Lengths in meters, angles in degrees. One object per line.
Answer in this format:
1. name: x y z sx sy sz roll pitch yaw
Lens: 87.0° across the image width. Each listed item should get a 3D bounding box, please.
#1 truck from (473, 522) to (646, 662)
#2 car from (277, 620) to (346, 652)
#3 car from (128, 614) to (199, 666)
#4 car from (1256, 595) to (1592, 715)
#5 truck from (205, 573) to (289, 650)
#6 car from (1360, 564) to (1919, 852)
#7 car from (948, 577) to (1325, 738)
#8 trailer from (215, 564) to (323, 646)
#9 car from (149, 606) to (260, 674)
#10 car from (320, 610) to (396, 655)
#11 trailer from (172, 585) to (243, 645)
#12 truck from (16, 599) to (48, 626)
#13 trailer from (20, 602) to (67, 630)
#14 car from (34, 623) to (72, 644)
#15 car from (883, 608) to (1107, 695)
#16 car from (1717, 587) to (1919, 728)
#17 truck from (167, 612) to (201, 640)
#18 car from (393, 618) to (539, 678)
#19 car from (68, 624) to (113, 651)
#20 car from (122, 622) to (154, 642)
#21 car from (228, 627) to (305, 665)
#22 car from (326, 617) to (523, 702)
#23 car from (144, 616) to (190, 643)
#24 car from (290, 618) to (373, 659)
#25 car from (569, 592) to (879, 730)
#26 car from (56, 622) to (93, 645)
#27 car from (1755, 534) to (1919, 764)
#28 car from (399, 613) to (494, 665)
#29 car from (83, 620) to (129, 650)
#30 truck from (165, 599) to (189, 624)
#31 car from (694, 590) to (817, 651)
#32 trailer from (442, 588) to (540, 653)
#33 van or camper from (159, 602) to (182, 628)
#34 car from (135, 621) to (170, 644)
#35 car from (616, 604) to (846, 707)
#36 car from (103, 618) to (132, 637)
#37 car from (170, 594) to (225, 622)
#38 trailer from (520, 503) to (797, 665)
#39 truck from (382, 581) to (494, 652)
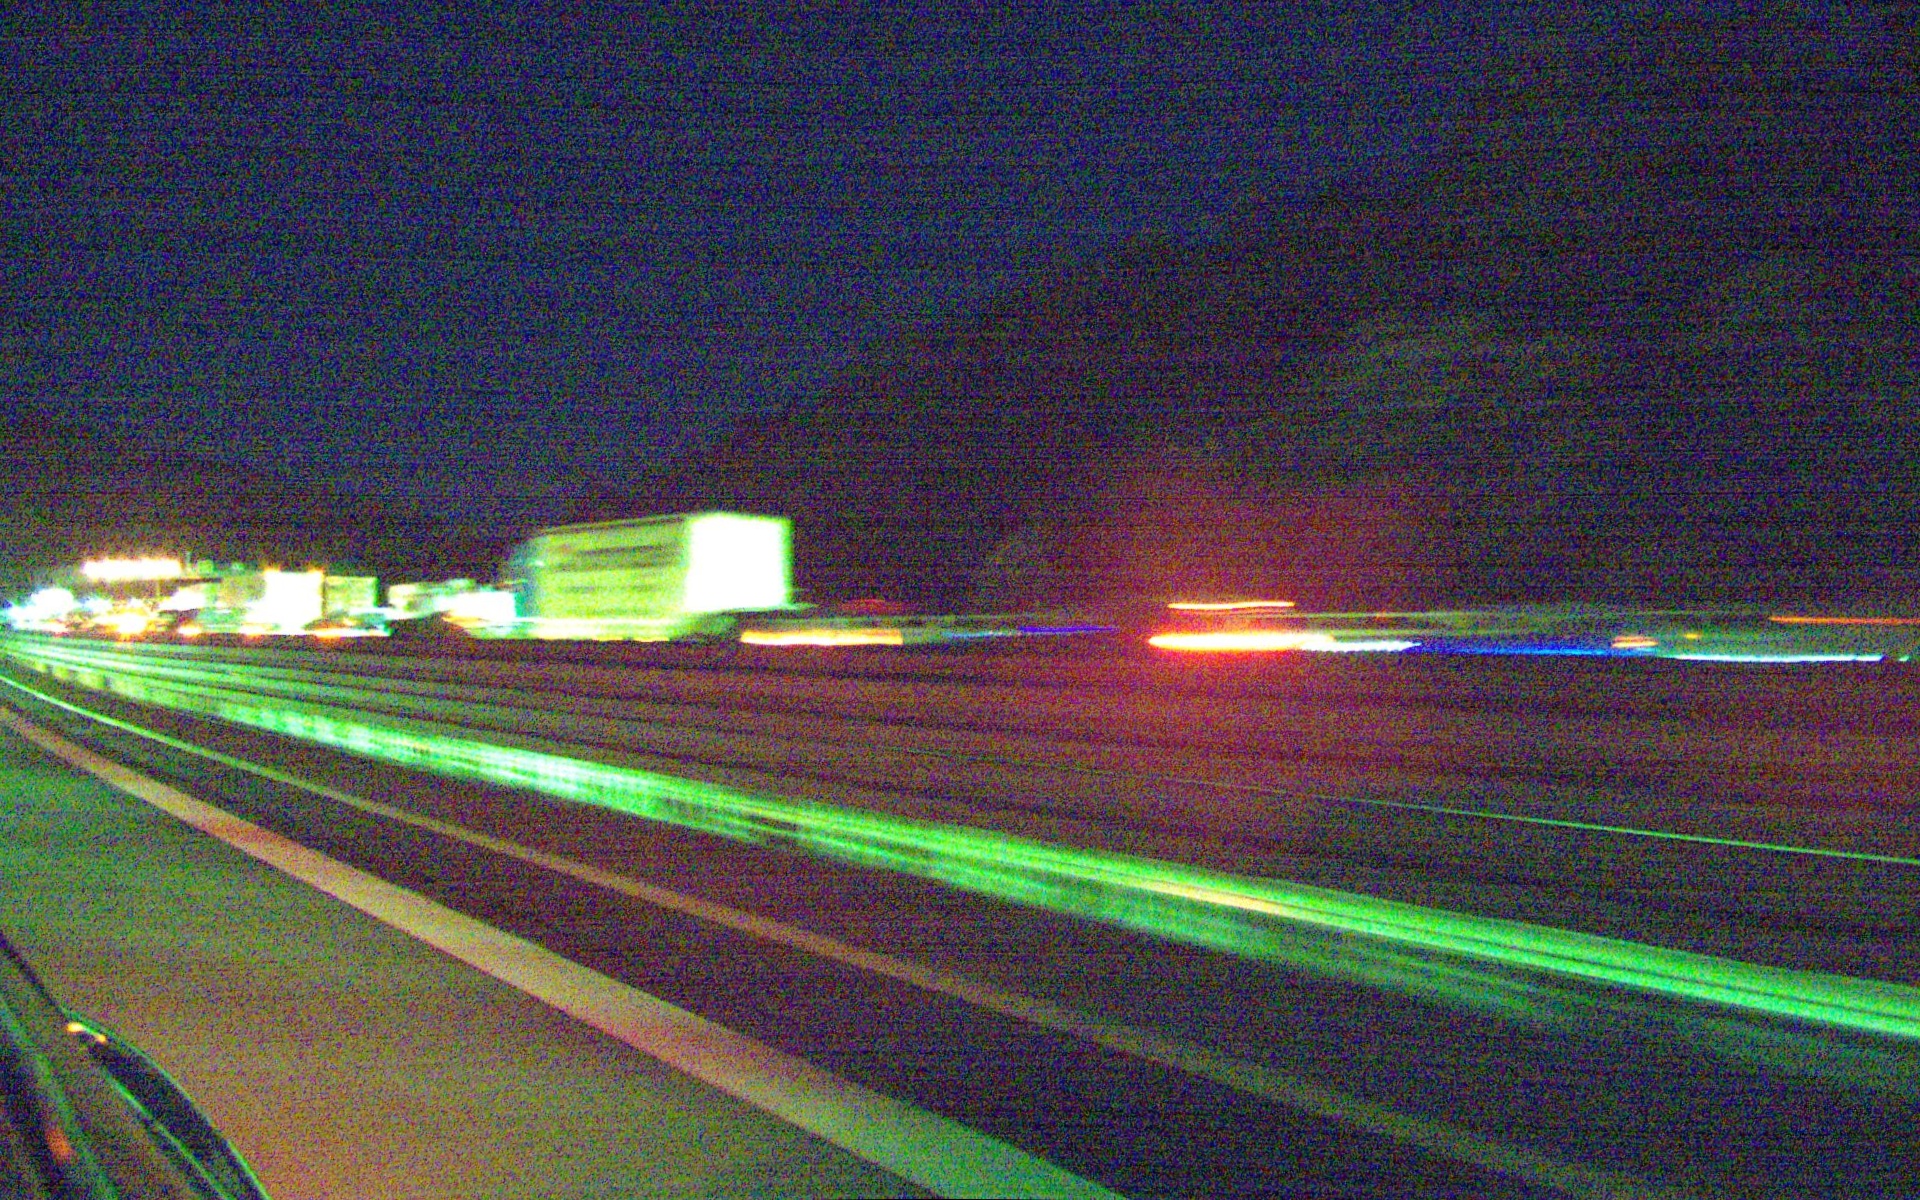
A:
1. truck: -12.347 -0.147 31.111 4.926 3.946 2.802 -2 -2 37
2. car: -32.781 1.805 51.105 4.868 1.503 1.882 -2 -1 44
3. car: -32.135 1.564 40.789 1.854 1.937 4.872 0 0 -43
4. car: 6.914 0.750 15.431 4.508 1.608 1.204 0 -1 39
5. truck: -45.971 0.744 65.223 5.959 4.293 2.591 -1 11 44
6. car: 4.976 0.548 6.038 1.683 1.437 4.515 0 -1 -45
7. car: 2.245 0.689 13.806 4.747 1.824 1.972 -1 -1 42
8. trailer: -42.393 0.395 61.770 2.807 4.498 14.530 2 -2 -45
9. car: -23.680 1.230 31.628 5.604 1.937 1.855 -2 -1 43
10. car: -27.585 1.426 46.291 1.882 1.901 5.025 -1 0 -44
11. trailer: -58.450 1.211 78.406 2.841 4.216 14.537 0 -1 -43
12. truck: -143.258 1.917 156.294 2.854 4.001 4.011 -2 1 -33
13. trailer: -147.465 2.431 162.982 2.794 4.004 15.810 -2 2 -32
14. car: -73.715 2.695 82.320 1.879 1.503 4.878 0 0 -37
15. car: 0.562 0.934 19.703 4.514 1.501 1.524 -1 -1 44
16. car: 10.655 0.606 11.177 3.644 1.415 1.358 -1 4 38
17. truck: -71.095 2.362 92.695 1.970 2.477 5.054 0 -1 -44
18. car: -13.441 1.250 27.423 4.648 1.454 1.927 -1 -1 41
19. car: -54.550 2.320 63.476 1.881 1.503 4.871 0 0 -44
20. car: -64.094 2.471 78.873 1.880 1.503 4.876 0 0 -40
21. car: -30.360 1.968 44.243 4.869 1.503 1.882 -1 0 44
22. car: -10.541 1.082 19.767 4.648 1.454 1.892 -1 -1 41
23. car: -48.221 1.823 61.504 1.881 1.503 4.873 0 -2 -42
24. car: -22.109 1.321 35.560 4.002 1.360 1.610 -2 -1 45
25. car: -3.311 0.735 13.661 4.511 1.565 1.814 -1 -1 42
26. car: -64.068 2.406 73.294 1.880 1.503 4.876 0 0 -40
27. car: 9.576 0.360 7.699 5.482 1.824 1.973 -1 -1 40
28. car: -19.698 1.452 38.722 4.321 1.824 1.971 -1 -1 44
29. car: -46.233 1.855 54.773 1.607 1.503 4.872 0 0 -44
30. truck: -108.600 1.539 140.296 2.345 3.285 7.737 1 -1 -39
31. car: -6.513 0.600 32.064 3.834 1.732 1.703 0 3 39
32. trailer: -21.099 0.915 45.423 4.993 2.765 2.337 -2 -1 43
33. van or camper: -96.652 1.863 123.941 2.193 3.026 7.138 0 -1 -38
34. car: -57.853 2.326 72.455 1.880 1.503 5.269 0 0 -40
35. car: -4.526 0.988 19.553 4.746 1.749 1.927 -1 -1 41
36. car: -71.953 2.323 86.429 1.880 1.503 4.945 0 0 -40
37. car: -42.643 0.456 56.559 1.881 1.503 4.872 0 0 -44
38. trailer: -8.640 -0.266 28.290 8.724 3.947 2.794 -2 -2 37
39. truck: -25.847 0.853 49.897 7.914 3.243 2.466 -2 -1 44
